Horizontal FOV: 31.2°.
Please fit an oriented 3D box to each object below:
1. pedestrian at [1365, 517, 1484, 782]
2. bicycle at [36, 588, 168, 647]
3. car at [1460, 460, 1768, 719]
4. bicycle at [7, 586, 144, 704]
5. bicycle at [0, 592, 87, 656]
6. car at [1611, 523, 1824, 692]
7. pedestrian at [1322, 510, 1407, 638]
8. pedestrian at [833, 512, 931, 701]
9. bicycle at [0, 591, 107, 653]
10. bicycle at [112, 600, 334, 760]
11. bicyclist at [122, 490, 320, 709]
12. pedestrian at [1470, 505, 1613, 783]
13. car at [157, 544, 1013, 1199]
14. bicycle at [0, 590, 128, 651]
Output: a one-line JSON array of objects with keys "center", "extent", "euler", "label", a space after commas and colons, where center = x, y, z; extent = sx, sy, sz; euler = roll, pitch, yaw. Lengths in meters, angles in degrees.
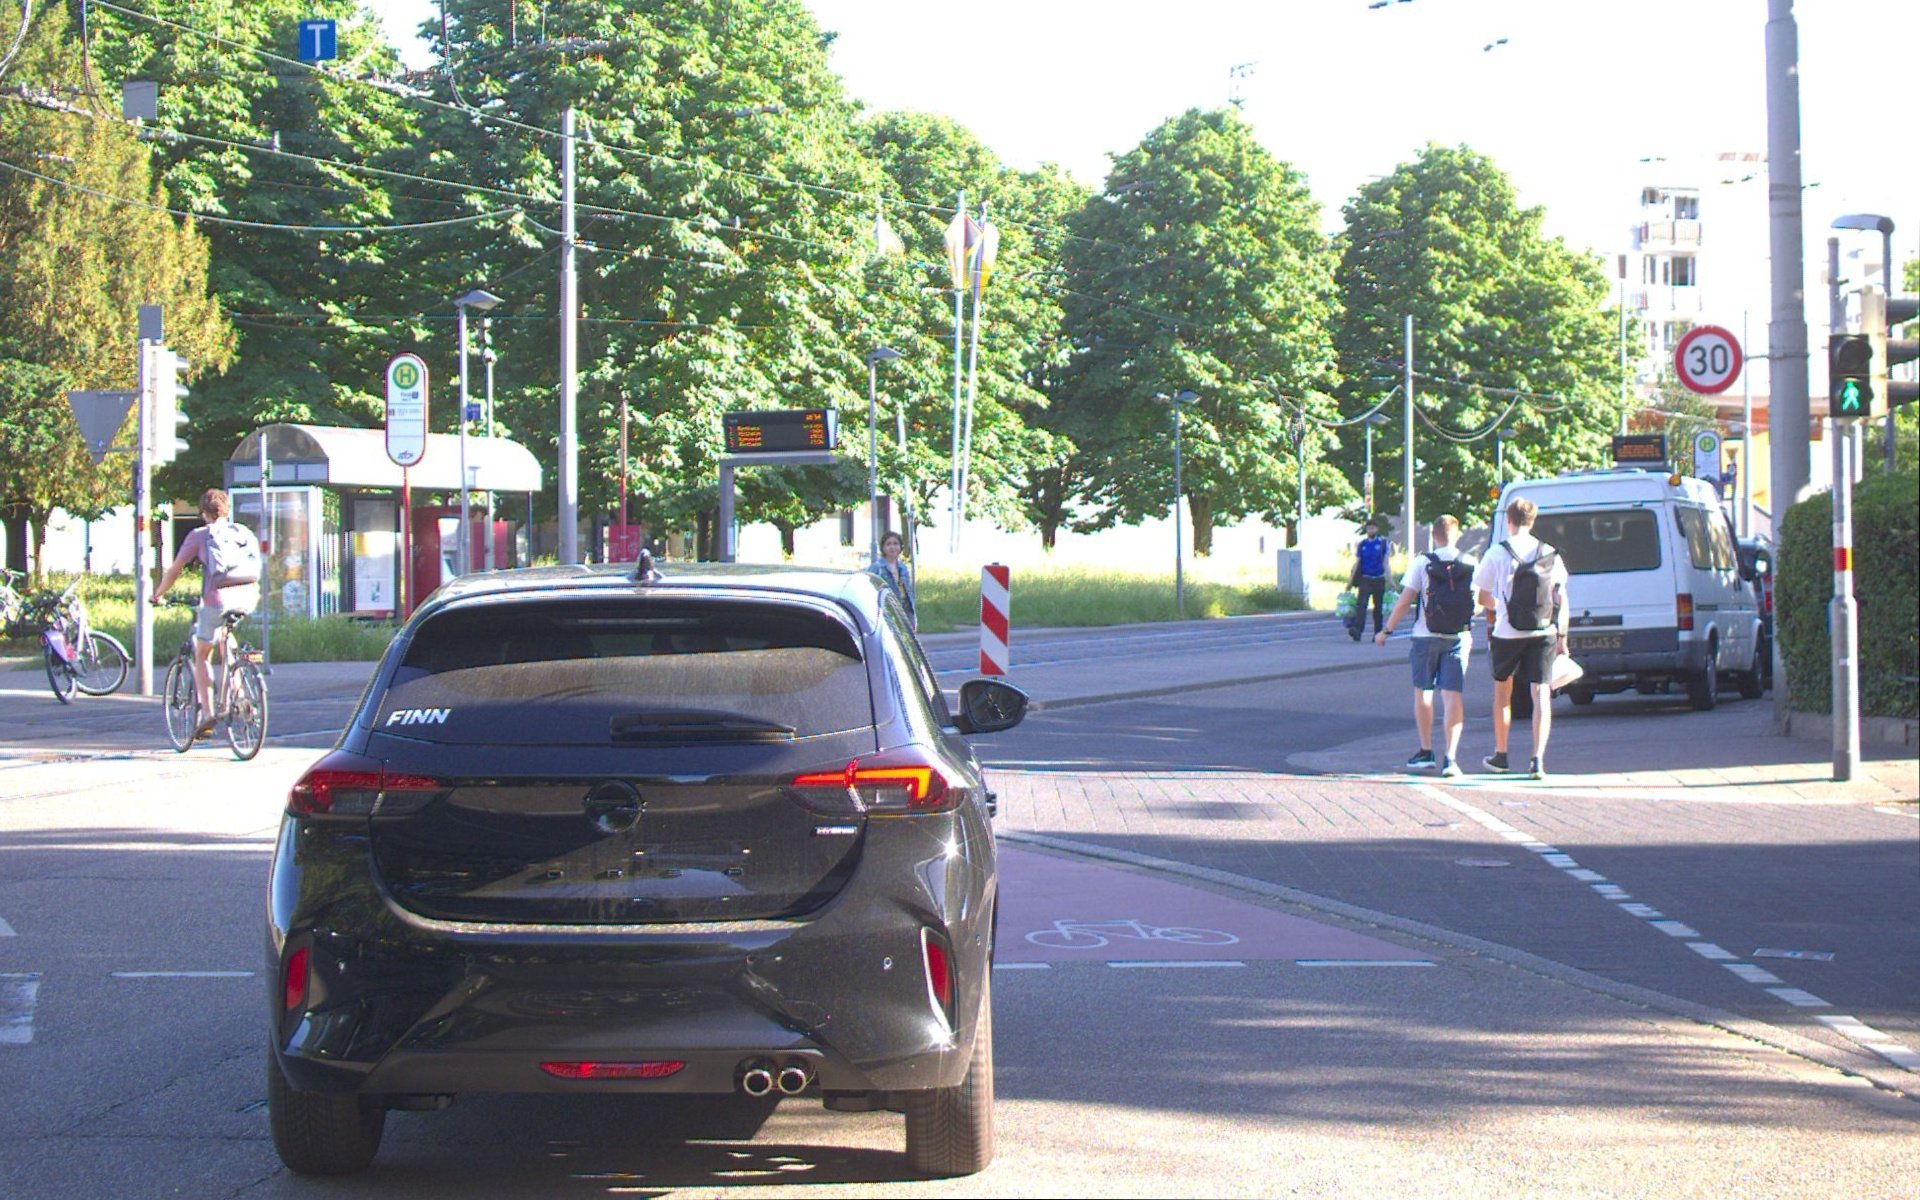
[{"center": [3.182, 0.330, 23.590], "extent": [0.698, 1.786, 0.617], "euler": [0, 1, -3], "label": "pedestrian"}, {"center": [-13.277, 0.269, 53.226], "extent": [1.877, 0.903, 0.659], "euler": [0, 1, 4], "label": "bicycle"}, {"center": [6.263, -0.089, 32.539], "extent": [2.092, 2.270, 4.301], "euler": [1, 0, 21], "label": "car"}, {"center": [-8.347, 0.407, 32.511], "extent": [0.825, 1.056, 1.883], "euler": [0, 1, -1], "label": "bicycle"}, {"center": [-13.597, 0.338, 49.494], "extent": [1.877, 0.903, 0.659], "euler": [0, 1, 4], "label": "bicycle"}, {"center": [8.385, 0.046, 37.853], "extent": [1.802, 1.757, 3.887], "euler": [0, 1, 20], "label": "car"}, {"center": [5.725, -0.376, 48.659], "extent": [0.959, 1.786, 0.994], "euler": [0, 1, 23], "label": "pedestrian"}, {"center": [-0.707, 0.053, 31.104], "extent": [0.698, 1.687, 0.728], "euler": [-1, 1, -18], "label": "pedestrian"}, {"center": [-13.558, 0.320, 50.482], "extent": [1.877, 0.903, 0.659], "euler": [0, 1, 4], "label": "bicycle"}, {"center": [-5.262, 0.546, 24.455], "extent": [0.667, 1.056, 2.081], "euler": [-1, 1, -39], "label": "bicycle"}, {"center": [-5.256, -0.017, 24.410], "extent": [0.840, 1.504, 1.368], "euler": [-1, 1, -39], "label": "bicyclist"}, {"center": [3.938, 0.287, 23.265], "extent": [0.704, 1.840, 0.699], "euler": [0, 1, 37], "label": "pedestrian"}, {"center": [-0.849, 0.574, 9.260], "extent": [1.800, 1.436, 3.940], "euler": [0, 1, -2], "label": "car"}, {"center": [-13.459, 0.301, 51.359], "extent": [1.877, 0.903, 0.659], "euler": [0, 1, 4], "label": "bicycle"}]
